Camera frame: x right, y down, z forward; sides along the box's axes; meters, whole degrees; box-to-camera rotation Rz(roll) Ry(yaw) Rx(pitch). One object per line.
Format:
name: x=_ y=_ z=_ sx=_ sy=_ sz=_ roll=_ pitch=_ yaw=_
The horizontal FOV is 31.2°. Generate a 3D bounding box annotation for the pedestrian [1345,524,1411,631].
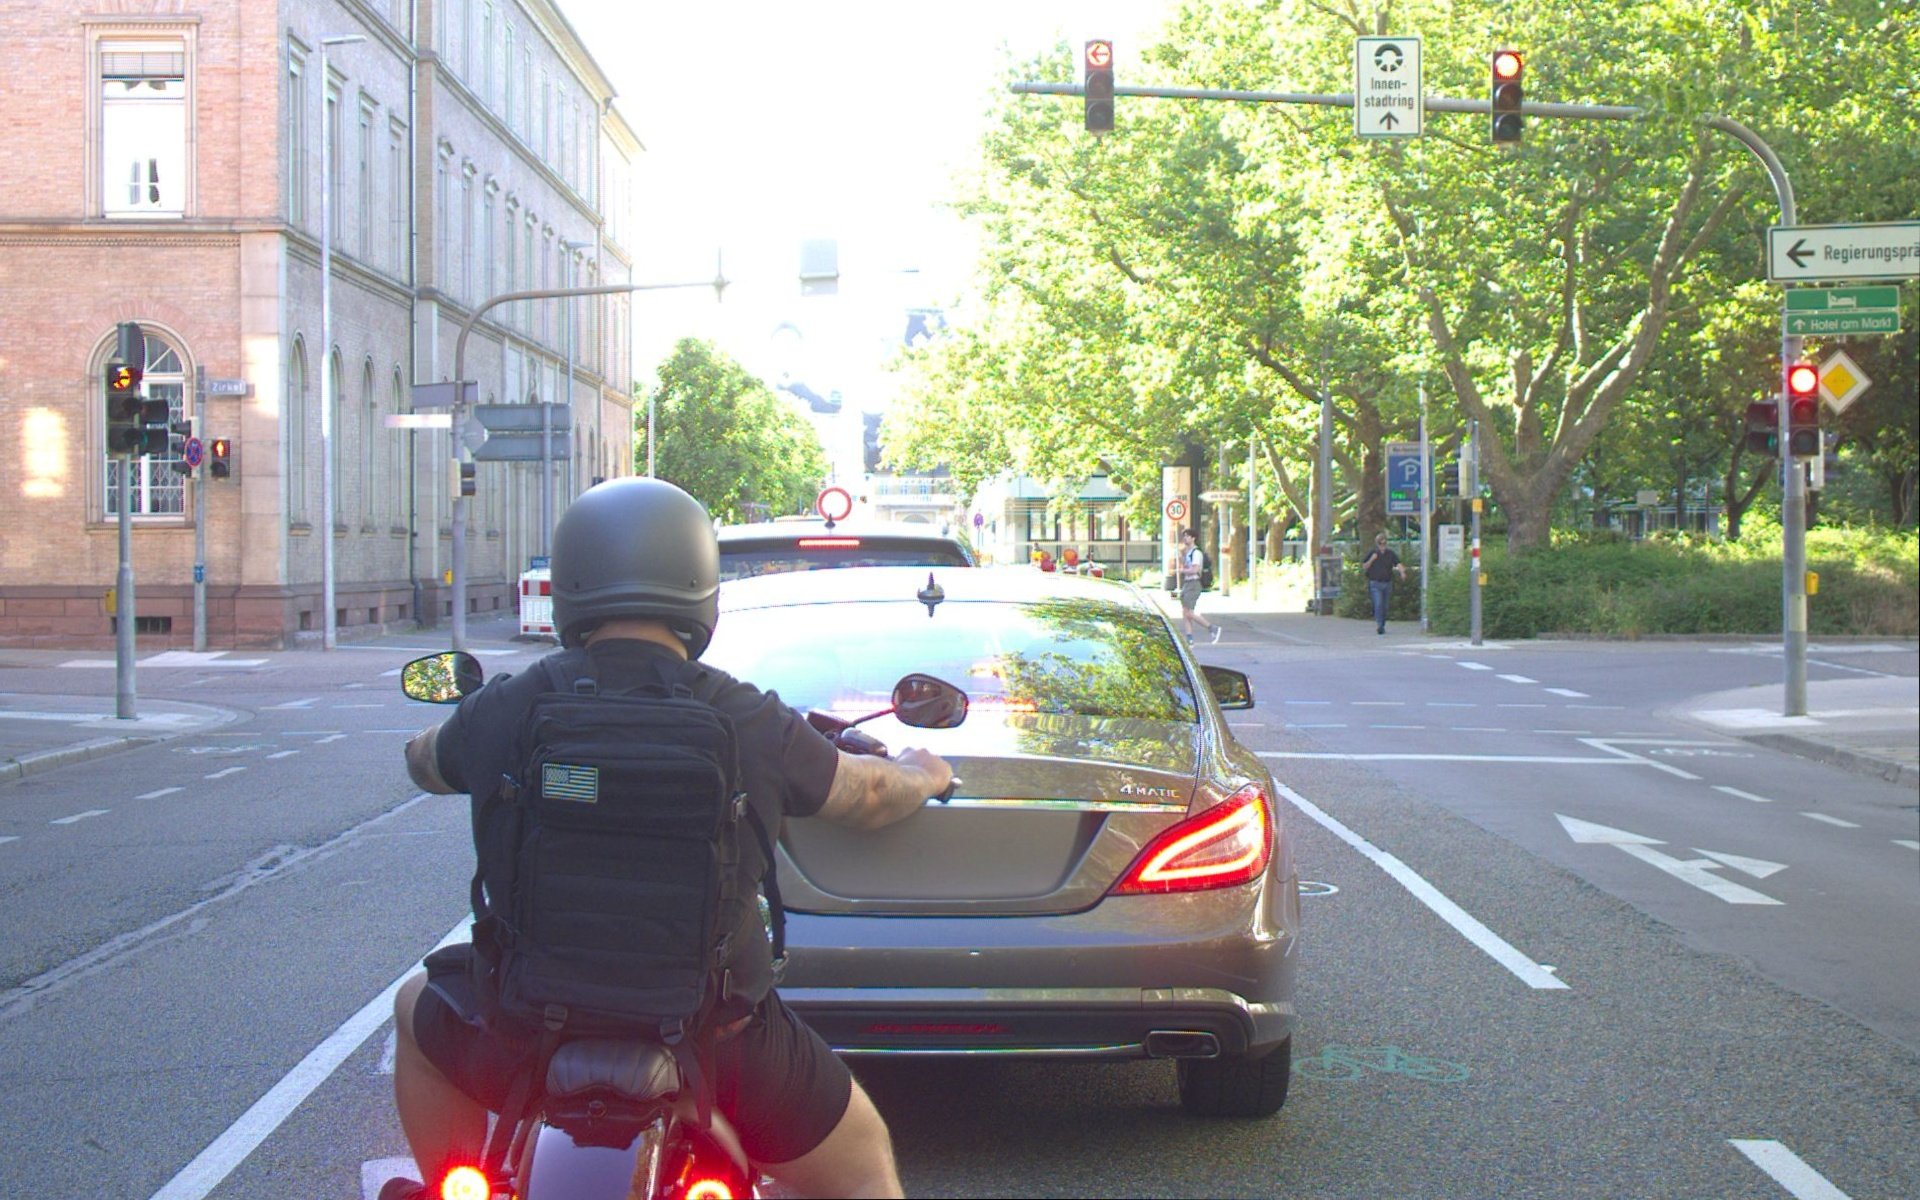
pedestrian: x=7.539 y=-0.408 z=61.995 sx=0.749 sy=1.903 sz=0.926 roll=1 pitch=0 yaw=-28

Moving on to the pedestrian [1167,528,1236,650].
pedestrian: x=3.703 y=-0.173 z=52.622 sx=1.002 sy=1.820 sz=1.076 roll=1 pitch=0 yaw=6

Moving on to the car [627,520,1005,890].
car: x=-0.638 y=0.415 z=16.748 sx=1.621 sy=1.588 sz=4.000 roll=0 pitch=1 yaw=-1

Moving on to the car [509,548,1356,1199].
car: x=-0.084 y=0.600 z=9.632 sx=1.882 sy=1.444 sz=3.820 roll=1 pitch=1 yaw=-1

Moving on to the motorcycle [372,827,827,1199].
motorcycle: x=-0.496 y=0.931 z=5.327 sx=0.513 sy=0.999 sz=2.013 roll=1 pitch=1 yaw=-1

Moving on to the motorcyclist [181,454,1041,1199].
motorcyclist: x=-0.483 y=0.601 z=5.297 sx=1.149 sy=1.593 sz=1.288 roll=1 pitch=0 yaw=-1

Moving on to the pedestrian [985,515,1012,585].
pedestrian: x=1.131 y=-1.455 z=100.860 sx=0.764 sy=2.044 sz=0.712 roll=1 pitch=0 yaw=-1
